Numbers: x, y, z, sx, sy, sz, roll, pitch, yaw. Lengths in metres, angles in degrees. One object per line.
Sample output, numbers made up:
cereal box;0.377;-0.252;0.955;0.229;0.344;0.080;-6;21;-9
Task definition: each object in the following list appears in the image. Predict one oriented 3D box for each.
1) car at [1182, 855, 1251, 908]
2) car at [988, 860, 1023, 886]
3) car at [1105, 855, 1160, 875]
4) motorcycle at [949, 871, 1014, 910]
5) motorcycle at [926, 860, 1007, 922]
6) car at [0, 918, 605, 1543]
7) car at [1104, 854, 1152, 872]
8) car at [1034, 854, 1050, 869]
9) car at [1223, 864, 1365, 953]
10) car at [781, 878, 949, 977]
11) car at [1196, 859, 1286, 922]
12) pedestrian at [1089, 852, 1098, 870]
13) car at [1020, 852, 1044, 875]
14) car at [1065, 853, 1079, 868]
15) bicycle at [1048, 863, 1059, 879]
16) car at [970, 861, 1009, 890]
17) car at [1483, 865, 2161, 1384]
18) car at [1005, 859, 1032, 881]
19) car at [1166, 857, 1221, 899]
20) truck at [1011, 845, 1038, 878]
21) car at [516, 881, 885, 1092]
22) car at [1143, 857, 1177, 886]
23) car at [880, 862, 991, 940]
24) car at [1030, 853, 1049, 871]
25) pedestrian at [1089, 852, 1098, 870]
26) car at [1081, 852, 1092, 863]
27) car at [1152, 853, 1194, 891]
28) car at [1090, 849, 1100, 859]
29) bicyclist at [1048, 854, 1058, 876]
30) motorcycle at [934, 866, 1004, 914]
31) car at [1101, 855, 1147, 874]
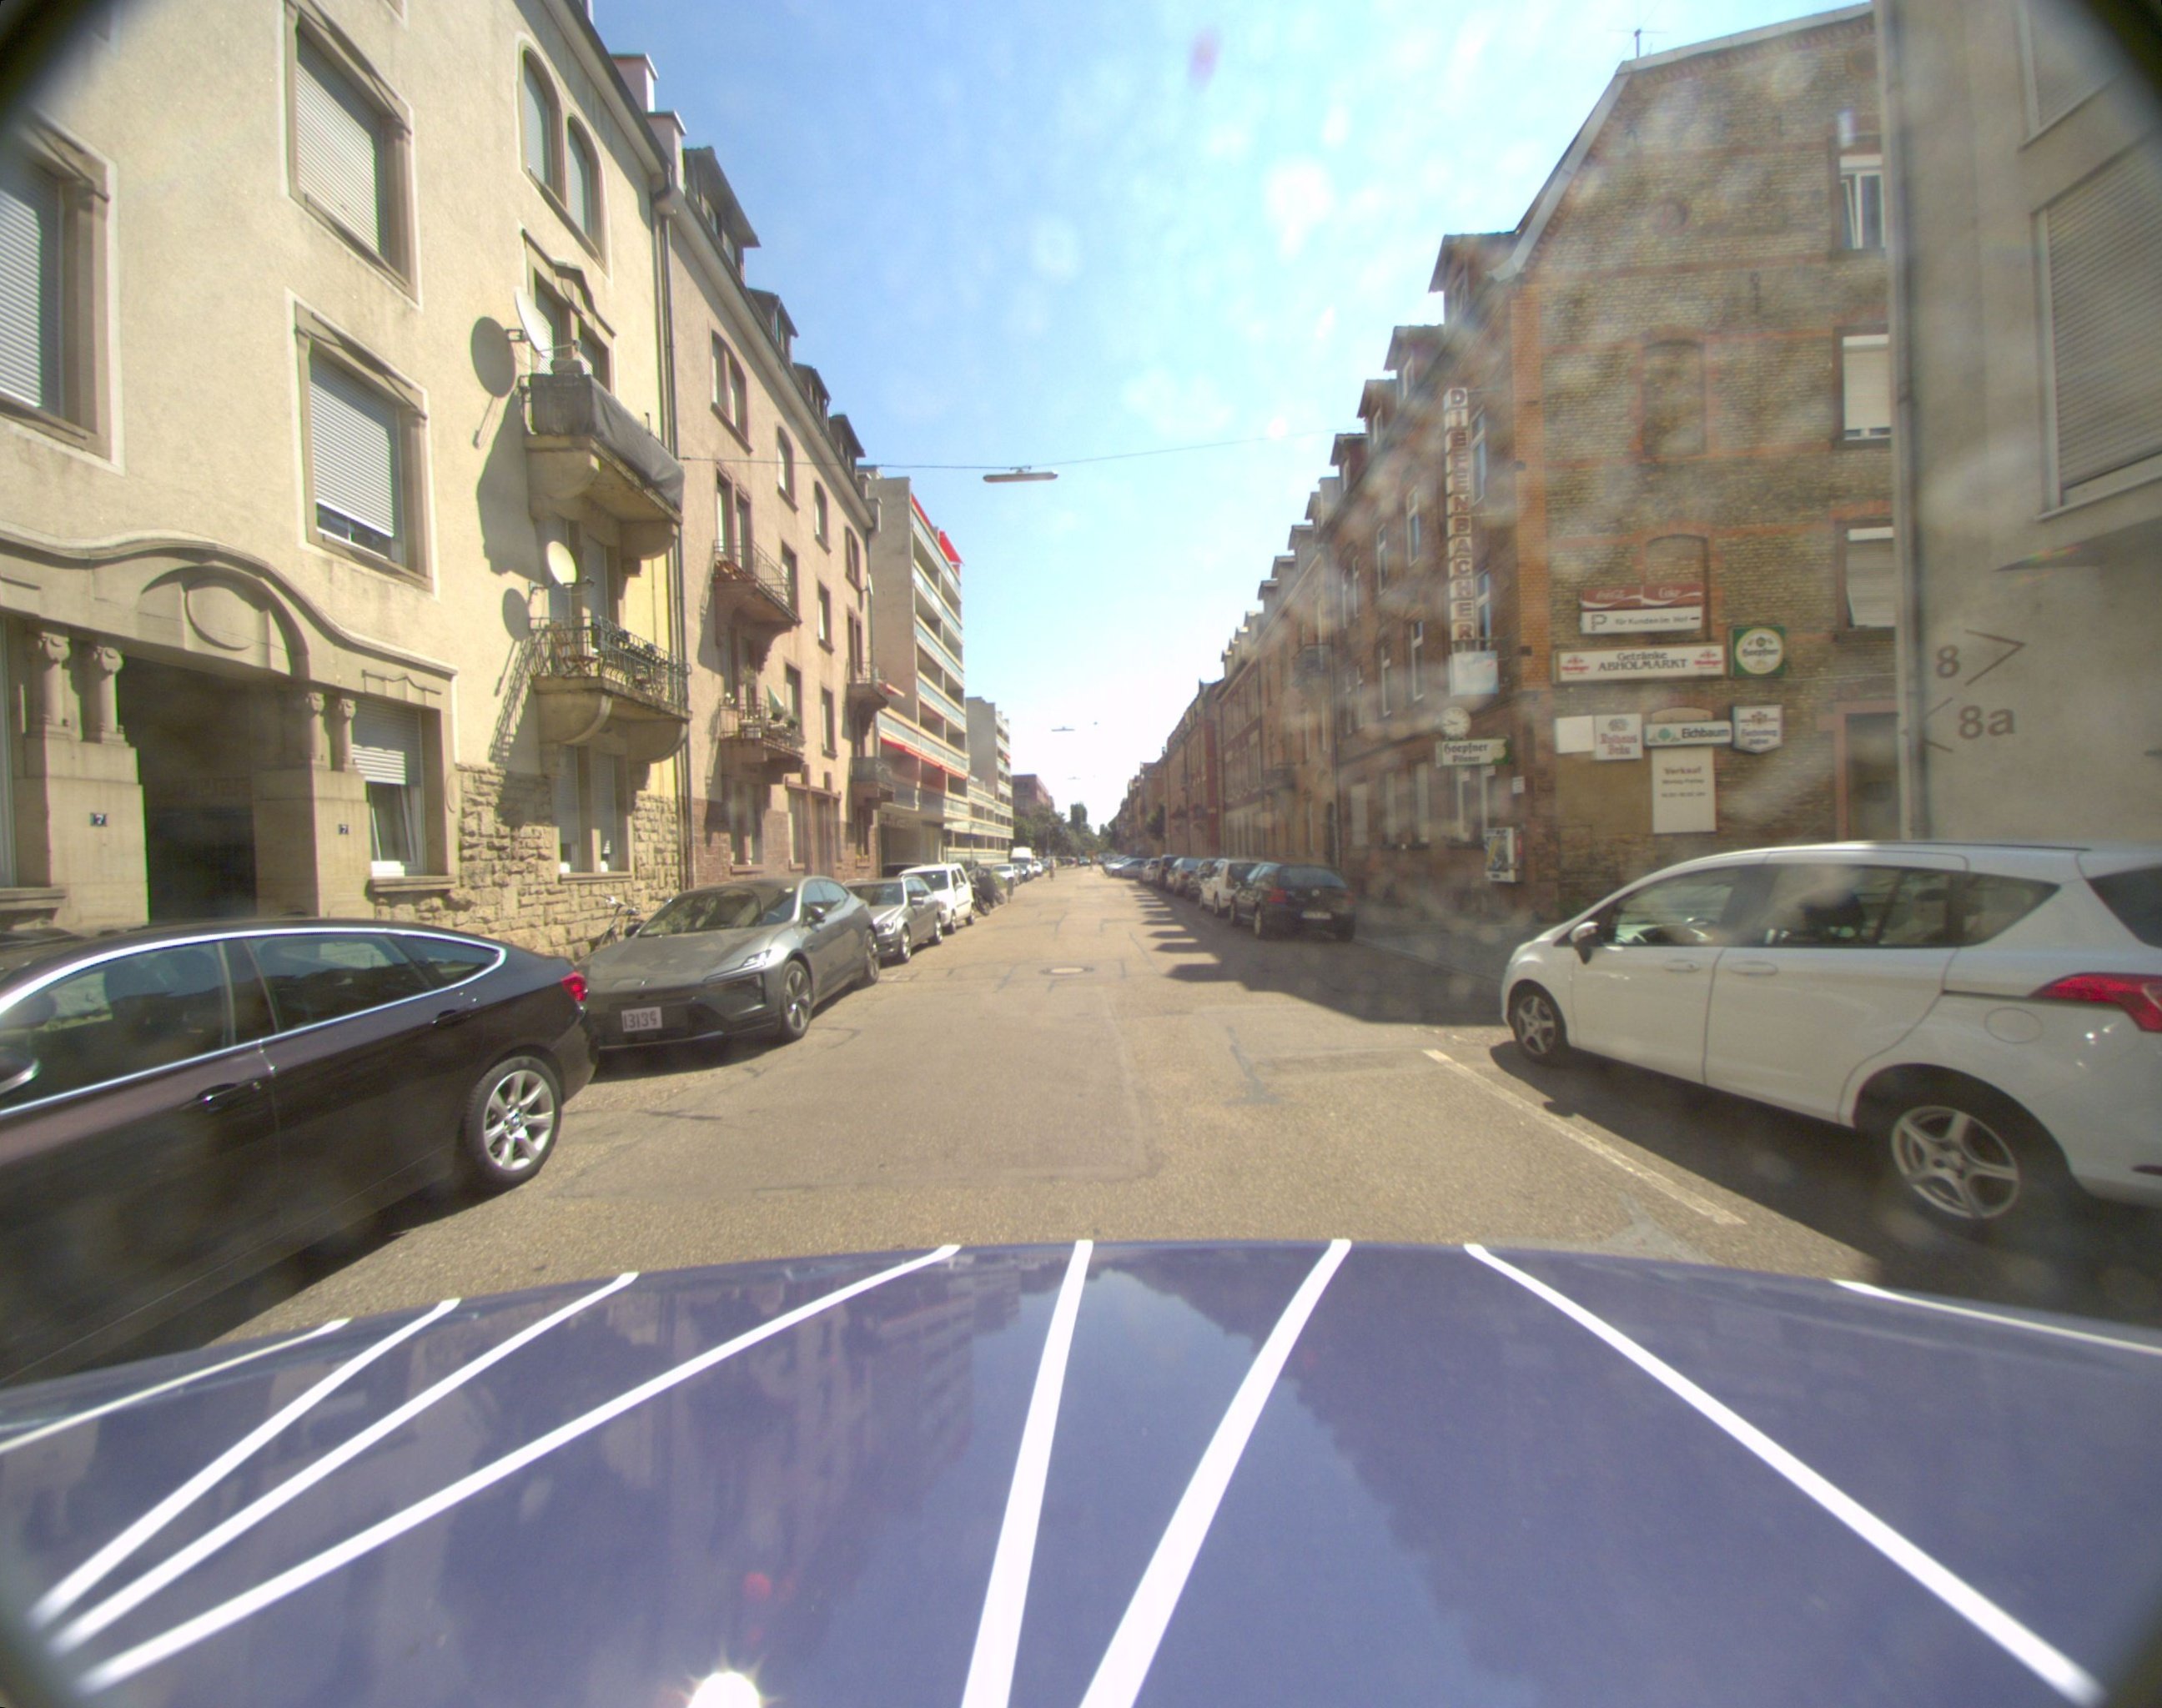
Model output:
car;4.378;0.845;24.941;1.450;1.534;3.524;2;0;-3
car;-4.818;1.201;48.942;1.754;1.484;3.902;-2;1;0
car;3.824;0.817;57.151;3.997;1.422;1.678;-2;1;1
motorcycle;-3.737;1.346;28.601;2.329;1.194;0.675;-6;1;-41
motorcycle;-3.449;1.103;23.047;2.197;1.613;0.764;-6;1;-41
car;-3.814;1.161;2.319;1.741;1.449;4.668;-2;0;0
car;3.975;0.767;65.085;3.997;1.422;1.678;-2;1;1
car;-4.883;0.909;95.382;1.792;1.844;4.000;-2;1;0
car;4.031;0.966;15.049;1.781;1.421;3.837;2;0;1
car;-3.718;1.203;13.922;1.791;1.350;4.352;-2;0;0
car;4.111;0.893;20.072;1.632;1.421;3.678;2;0;1
pedestrian;1.273;0.762;78.856;0.883;1.823;0.874;-3;0;2
car;-4.545;0.889;70.792;1.902;2.002;4.000;-2;1;0
car;-1.223;0.863;106.934;1.826;2.002;3.867;-2;1;0
bicycle;-2.062;1.256;56.866;0.671;1.169;2.094;-2;1;1
car;-5.283;1.222;44.262;1.754;1.484;3.902;-2;1;0
car;4.099;0.891;4.063;1.633;1.540;3.852;2;0;-3
car;-4.817;1.228;58.974;1.717;1.543;4.000;-2;1;0
car;4.261;0.870;29.287;1.450;1.464;3.525;2;0;-2
truck;-4.843;0.594;65.390;1.869;2.715;4.507;-2;1;0
car;-3.594;1.129;8.279;1.828;1.423;4.488;-3;0;-2
car;4.173;0.884;40.422;1.450;1.391;3.526;2;0;1
car;-3.496;1.082;18.961;1.651;1.613;4.092;-2;1;4
car;-4.735;0.880;88.133;1.902;2.002;4.000;-2;1;0
pedestrian;1.323;0.756;79.459;0.883;1.823;0.874;-3;0;2
car;0.790;0.512;118.137;1.625;1.600;3.597;-2;1;0
car;4.246;0.787;35.485;1.450;1.633;3.525;2;0;-1
car;2.925;-0.068;154.149;1.785;2.002;4.000;-2;0;3
bicyclist;-2.085;0.822;56.906;0.645;1.640;0.622;-2;1;1
motorcycle;-3.857;1.238;26.302;2.197;1.422;0.733;-6;2;-40
car;3.815;0.939;67.451;3.997;1.491;1.652;-2;1;1
